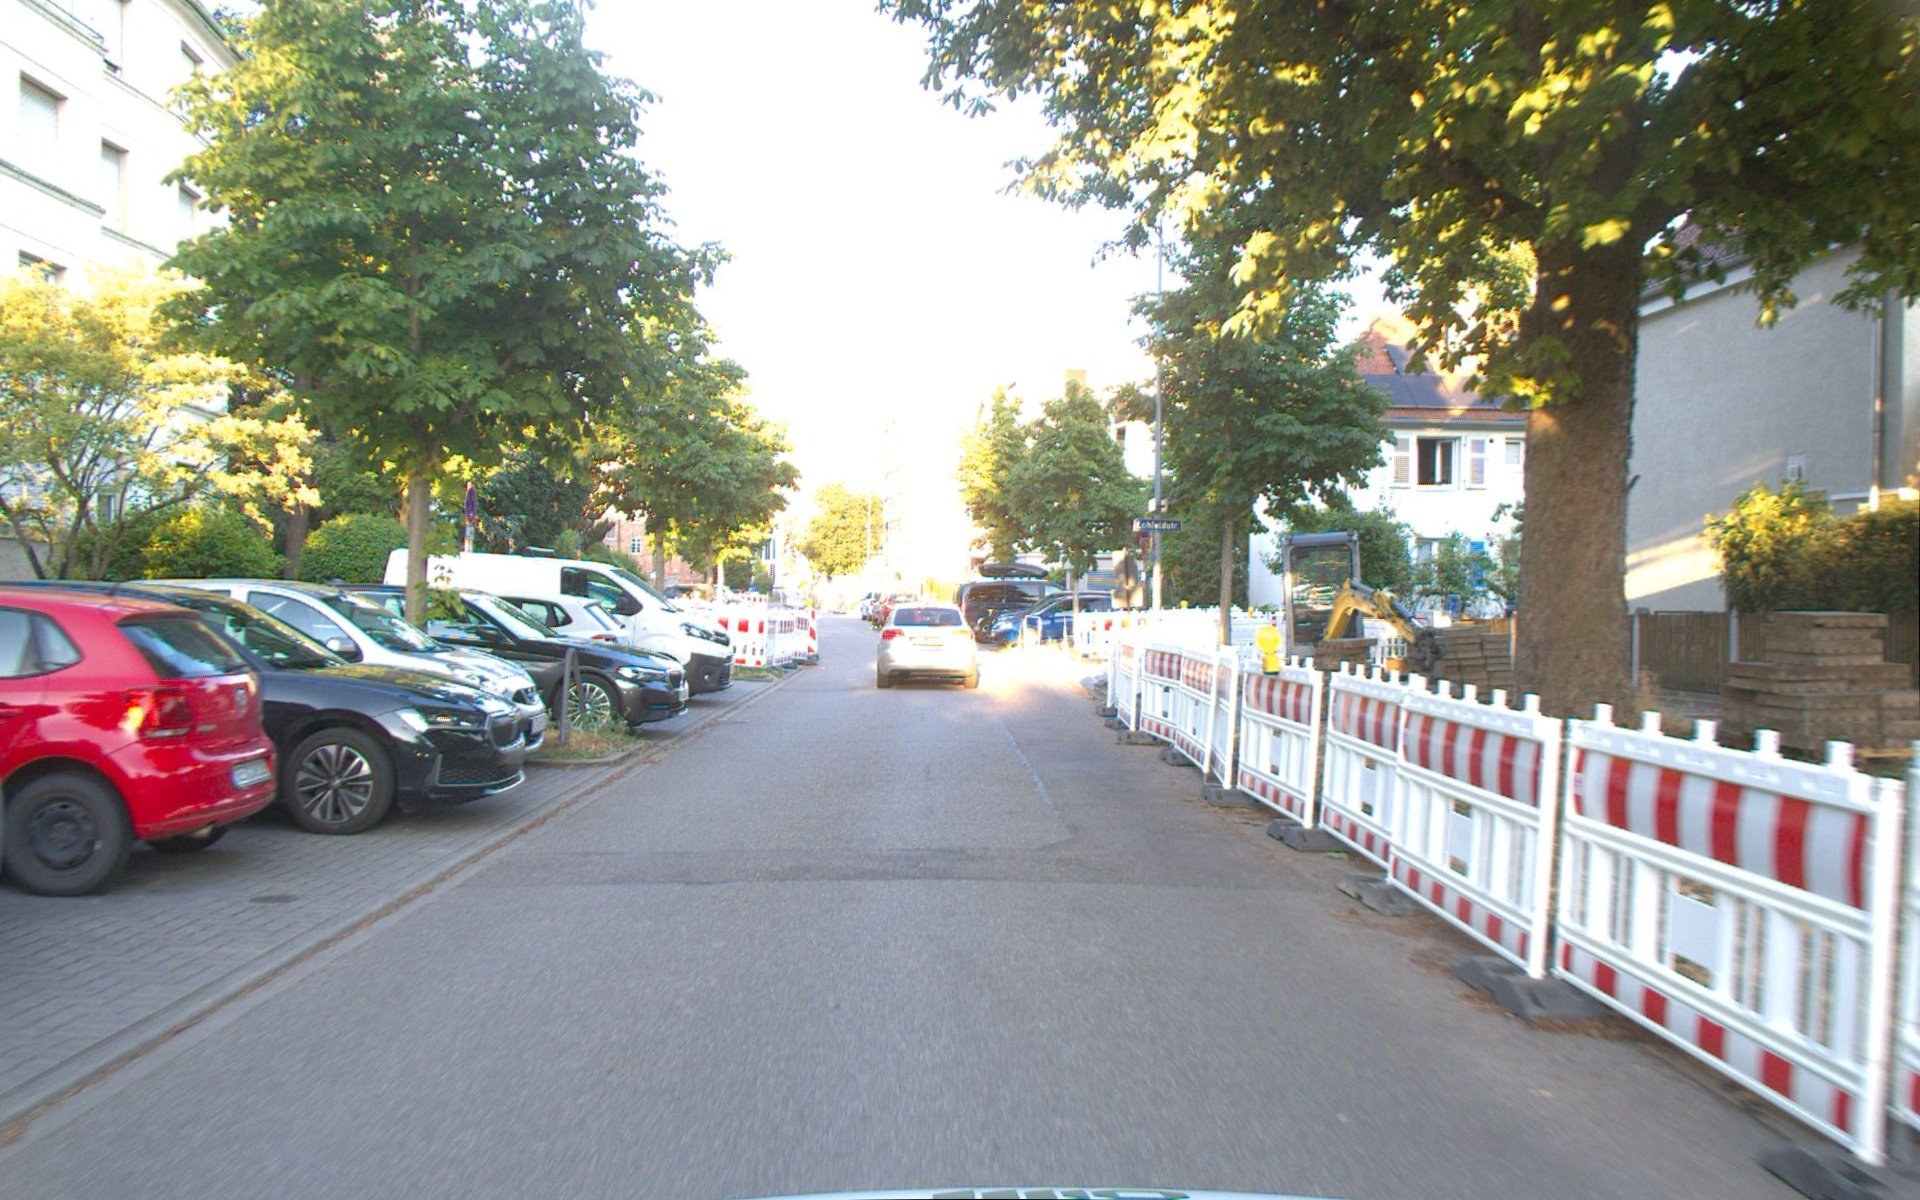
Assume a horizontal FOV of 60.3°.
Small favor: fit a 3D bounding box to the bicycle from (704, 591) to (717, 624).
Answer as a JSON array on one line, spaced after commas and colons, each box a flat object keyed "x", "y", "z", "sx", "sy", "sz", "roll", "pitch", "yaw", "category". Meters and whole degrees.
[{"x": -9.649, "y": 0.288, "z": 63.941, "sx": 0.398, "sy": 1.248, "sz": 1.982, "roll": 1, "pitch": 1, "yaw": -10, "category": "bicycle"}]

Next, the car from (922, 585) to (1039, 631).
[{"x": 0.738, "y": 0.292, "z": 61.919, "sx": 4.077, "sy": 1.599, "sz": 1.792, "roll": 1, "pitch": 1, "yaw": -13, "category": "car"}]

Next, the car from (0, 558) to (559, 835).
[{"x": -5.020, "y": 0.574, "z": 10.958, "sx": 4.321, "sy": 1.643, "sz": 1.898, "roll": 1, "pitch": 1, "yaw": -6, "category": "car"}]

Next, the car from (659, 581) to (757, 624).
[{"x": -10.416, "y": 0.090, "z": 68.468, "sx": 3.914, "sy": 1.653, "sz": 1.996, "roll": 1, "pitch": 1, "yaw": -10, "category": "car"}]

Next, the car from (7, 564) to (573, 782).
[{"x": -5.311, "y": 0.559, "z": 13.580, "sx": 3.910, "sy": 1.606, "sz": 1.799, "roll": 1, "pitch": 1, "yaw": -6, "category": "car"}]

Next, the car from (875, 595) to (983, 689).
[{"x": -0.545, "y": 0.691, "z": 29.163, "sx": 1.771, "sy": 1.514, "sz": 3.999, "roll": -1, "pitch": 0, "yaw": -1, "category": "car"}]

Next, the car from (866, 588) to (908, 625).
[{"x": -3.344, "y": 0.285, "z": 75.112, "sx": 1.632, "sy": 1.601, "sz": 3.436, "roll": 1, "pitch": 1, "yaw": -6, "category": "car"}]

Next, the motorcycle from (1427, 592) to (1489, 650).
[{"x": 10.087, "y": 0.424, "z": 33.476, "sx": 0.570, "sy": 1.125, "sz": 1.839, "roll": 2, "pitch": 1, "yaw": 37, "category": "motorcycle"}]

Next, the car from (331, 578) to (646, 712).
[{"x": -5.738, "y": 0.519, "z": 20.422, "sx": 3.345, "sy": 1.509, "sz": 1.758, "roll": 1, "pitch": 1, "yaw": 0, "category": "car"}]

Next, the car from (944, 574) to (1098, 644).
[{"x": 1.899, "y": 0.267, "z": 51.961, "sx": 4.474, "sy": 2.058, "sz": 2.096, "roll": 1, "pitch": 0, "yaw": -11, "category": "car"}]

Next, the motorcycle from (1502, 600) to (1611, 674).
[{"x": 12.316, "y": 0.749, "z": 34.180, "sx": 0.593, "sy": 1.441, "sz": 2.047, "roll": 1, "pitch": 1, "yaw": -44, "category": "motorcycle"}]

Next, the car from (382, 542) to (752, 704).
[{"x": -5.350, "y": 0.301, "z": 23.057, "sx": 4.676, "sy": 2.049, "sz": 1.999, "roll": 1, "pitch": 0, "yaw": -3, "category": "car"}]

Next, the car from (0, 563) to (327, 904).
[{"x": -5.579, "y": 0.602, "z": 8.606, "sx": 3.910, "sy": 1.611, "sz": 1.729, "roll": 1, "pitch": 0, "yaw": -6, "category": "car"}]

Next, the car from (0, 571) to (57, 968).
[{"x": -5.652, "y": 0.627, "z": 5.819, "sx": 3.909, "sy": 1.551, "sz": 1.788, "roll": 1, "pitch": 1, "yaw": -5, "category": "car"}]

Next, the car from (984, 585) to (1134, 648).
[{"x": 2.793, "y": 0.471, "z": 47.057, "sx": 3.918, "sy": 1.680, "sz": 1.759, "roll": 1, "pitch": 1, "yaw": -13, "category": "car"}]

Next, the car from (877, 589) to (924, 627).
[{"x": -2.516, "y": 0.321, "z": 69.630, "sx": 1.697, "sy": 1.509, "sz": 3.553, "roll": 1, "pitch": 1, "yaw": -6, "category": "car"}]

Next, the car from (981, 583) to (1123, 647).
[{"x": 2.728, "y": 0.426, "z": 49.636, "sx": 3.914, "sy": 1.799, "sz": 1.996, "roll": 1, "pitch": 1, "yaw": -10, "category": "car"}]

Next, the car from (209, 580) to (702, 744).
[{"x": -5.272, "y": 0.638, "z": 17.789, "sx": 4.676, "sy": 1.496, "sz": 1.880, "roll": 2, "pitch": 0, "yaw": -2, "category": "car"}]

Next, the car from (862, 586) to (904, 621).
[{"x": -3.760, "y": 0.150, "z": 79.972, "sx": 1.774, "sy": 1.641, "sz": 3.576, "roll": 1, "pitch": 1, "yaw": -6, "category": "car"}]

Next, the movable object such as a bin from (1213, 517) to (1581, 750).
[{"x": 5.073, "y": 0.331, "z": 20.203, "sx": 2.578, "sy": 2.444, "sz": 5.190, "roll": 1, "pitch": 1, "yaw": -7, "category": "movable object such as a bin"}]
